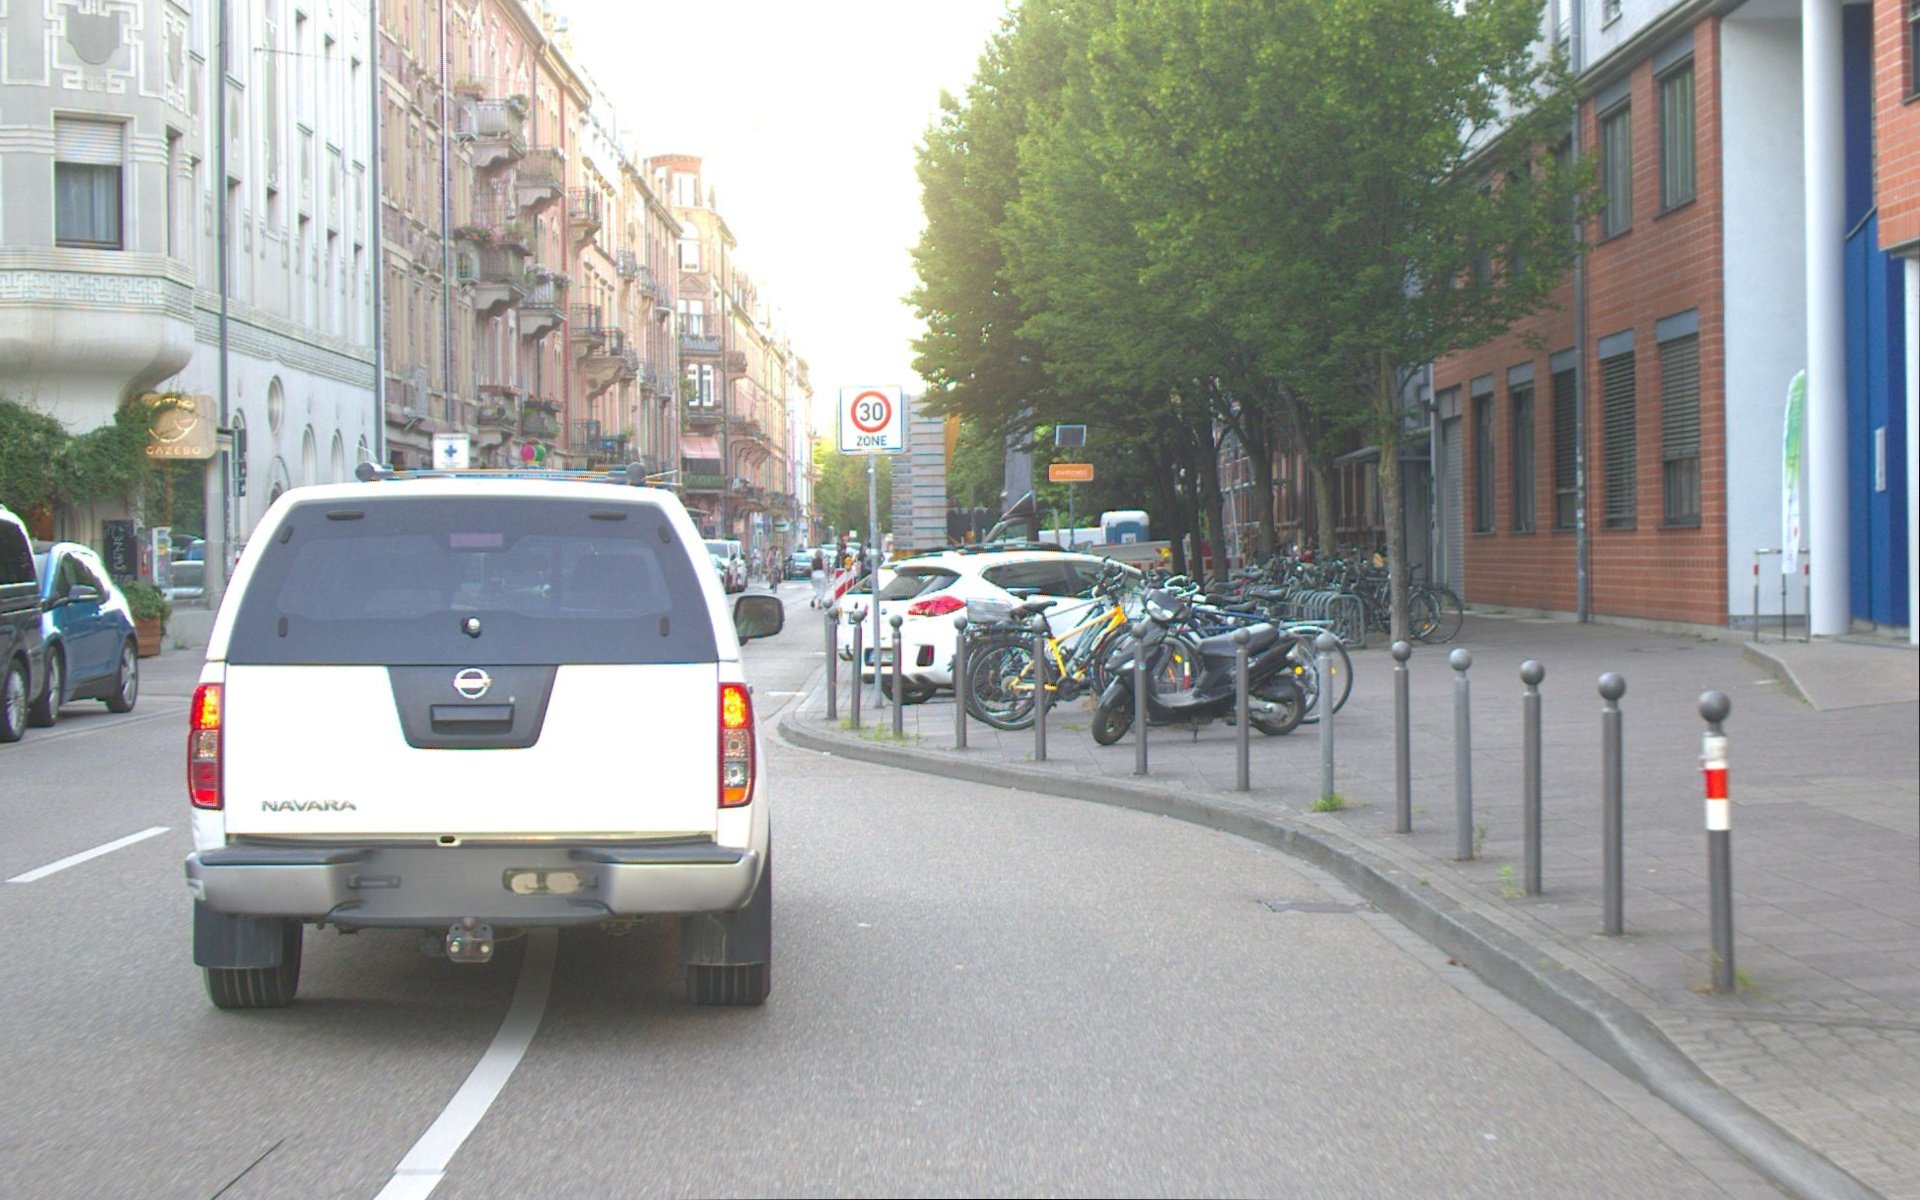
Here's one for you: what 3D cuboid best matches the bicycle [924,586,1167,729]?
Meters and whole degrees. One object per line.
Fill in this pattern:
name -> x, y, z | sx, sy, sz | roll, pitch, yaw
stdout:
bicycle -> 0.667, 0.450, 27.220 | 1.857, 1.035, 0.472 | -2, 1, -2

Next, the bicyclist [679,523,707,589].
bicyclist -> -6.835, -1.128, 88.124 | 0.603, 1.679, 1.142 | -1, 1, 0

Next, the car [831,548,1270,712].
car -> 0.907, 0.262, 34.023 | 3.987, 1.501, 1.770 | -1, 1, -29

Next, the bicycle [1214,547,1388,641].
bicycle -> 5.069, -0.094, 51.190 | 2.534, 1.375, 0.599 | -1, 1, 2

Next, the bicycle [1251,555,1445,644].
bicycle -> 5.194, -0.010, 46.049 | 2.534, 1.162, 0.562 | -1, 1, 2

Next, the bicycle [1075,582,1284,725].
bicycle -> 1.700, 0.410, 26.683 | 1.539, 1.035, 0.472 | -2, 1, -2

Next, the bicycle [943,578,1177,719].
bicycle -> 0.814, 0.392, 28.237 | 1.857, 1.062, 0.446 | -2, 1, -2

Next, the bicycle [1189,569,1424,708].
bicycle -> 2.873, 0.314, 28.588 | 1.857, 1.062, 0.524 | -2, 1, -2

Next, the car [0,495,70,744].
car -> -8.197, 0.161, 25.010 | 1.993, 1.860, 5.289 | 0, 1, 1

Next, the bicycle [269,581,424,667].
bicycle -> -8.202, 0.314, 45.941 | 2.113, 1.091, 0.500 | 1, 2, 24

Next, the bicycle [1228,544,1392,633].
bicycle -> 5.549, -0.186, 54.590 | 2.534, 1.375, 0.599 | -1, 1, 2

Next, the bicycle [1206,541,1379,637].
bicycle -> 5.149, -0.177, 53.362 | 2.534, 1.240, 0.599 | -6, 0, 2

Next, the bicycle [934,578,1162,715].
bicycle -> 0.733, 0.387, 28.884 | 1.857, 1.062, 0.446 | -2, 1, -2

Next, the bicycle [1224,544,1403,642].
bicycle -> 5.106, -0.107, 49.767 | 2.534, 1.375, 0.599 | -1, 1, 2

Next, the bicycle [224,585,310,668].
bicycle -> -9.055, 0.338, 44.956 | 0.423, 1.009, 1.717 | 0, 2, 13

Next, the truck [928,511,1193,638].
truck -> 2.430, -0.596, 83.540 | 6.320, 2.966, 2.264 | 0, -2, 1

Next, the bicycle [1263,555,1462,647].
bicycle -> 5.231, 0.009, 44.780 | 2.534, 1.162, 0.562 | -1, 1, 2

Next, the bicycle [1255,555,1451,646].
bicycle -> 5.185, 0.003, 45.438 | 2.534, 1.162, 0.562 | -1, 1, 2

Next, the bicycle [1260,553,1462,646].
bicycle -> 5.140, -0.011, 44.165 | 2.534, 1.162, 0.562 | -1, 1, 2

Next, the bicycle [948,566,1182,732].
bicycle -> 0.791, 0.367, 26.143 | 1.707, 1.172, 0.472 | -2, 1, -2

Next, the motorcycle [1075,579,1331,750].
motorcycle -> 1.709, 0.442, 24.278 | 1.644, 1.098, 0.647 | -3, 1, -9

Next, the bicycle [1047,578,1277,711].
bicycle -> 1.742, 0.378, 29.748 | 1.911, 1.062, 0.524 | -2, 1, -2

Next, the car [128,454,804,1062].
car -> -1.561, 0.437, 12.456 | 1.933, 1.788, 4.622 | 0, 1, -2

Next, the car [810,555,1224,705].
car -> 0.623, 0.304, 36.428 | 3.987, 1.468, 1.875 | -1, 0, -33

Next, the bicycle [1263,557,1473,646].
bicycle -> 5.157, 0.011, 43.544 | 2.534, 0.956, 0.680 | -4, 1, 2

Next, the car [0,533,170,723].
car -> -8.264, 0.200, 30.142 | 1.640, 1.550, 4.004 | 0, 1, 2

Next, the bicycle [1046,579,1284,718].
bicycle -> 1.654, 0.392, 27.811 | 1.857, 1.035, 0.402 | -2, 1, -2

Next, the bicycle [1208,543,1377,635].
bicycle -> 5.086, -0.170, 52.655 | 2.534, 1.375, 0.599 | -1, 1, 2

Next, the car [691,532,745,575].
car -> -8.796, -1.686, 125.241 | 1.710, 1.525, 4.000 | 0, 1, -1

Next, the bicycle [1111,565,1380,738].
bicycle -> 2.102, 0.373, 25.456 | 1.859, 1.142, 0.659 | -4, 1, -1

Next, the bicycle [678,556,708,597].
bicycle -> -6.836, -0.615, 88.132 | 0.614, 1.036, 1.904 | -1, 1, -1

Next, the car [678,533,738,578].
car -> -8.710, -1.540, 118.963 | 1.791, 1.525, 4.000 | 0, 1, 0

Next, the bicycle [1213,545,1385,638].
bicycle -> 5.117, -0.127, 51.988 | 2.534, 1.375, 0.599 | -1, 1, 2

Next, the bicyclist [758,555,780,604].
bicyclist -> -7.179, -0.786, 129.453 | 0.800, 1.843, 0.944 | 0, 1, -3

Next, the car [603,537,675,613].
car -> -8.388, -0.671, 90.040 | 1.559, 1.914, 3.856 | 1, 1, -1

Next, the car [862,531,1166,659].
car -> 0.714, -0.085, 44.601 | 3.594, 1.575, 1.716 | -1, 1, -33

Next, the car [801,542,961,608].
car -> -2.151, -0.691, 94.199 | 4.196, 1.774, 1.819 | 0, 1, 5

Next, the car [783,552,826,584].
car -> -7.802, -1.617, 172.676 | 1.847, 1.546, 4.355 | 0, 1, 2

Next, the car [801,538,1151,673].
car -> 0.212, 0.038, 41.867 | 3.987, 1.532, 1.636 | -1, 1, -31

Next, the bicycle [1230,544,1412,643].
bicycle -> 5.139, -0.098, 49.053 | 2.534, 1.375, 0.599 | -1, 1, 2

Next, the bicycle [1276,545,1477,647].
bicycle -> 5.121, -0.049, 42.335 | 2.346, 1.095, 0.680 | -4, 1, 2

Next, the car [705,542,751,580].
car -> -9.635, -1.624, 142.947 | 1.846, 1.546, 4.356 | 0, 1, -3
